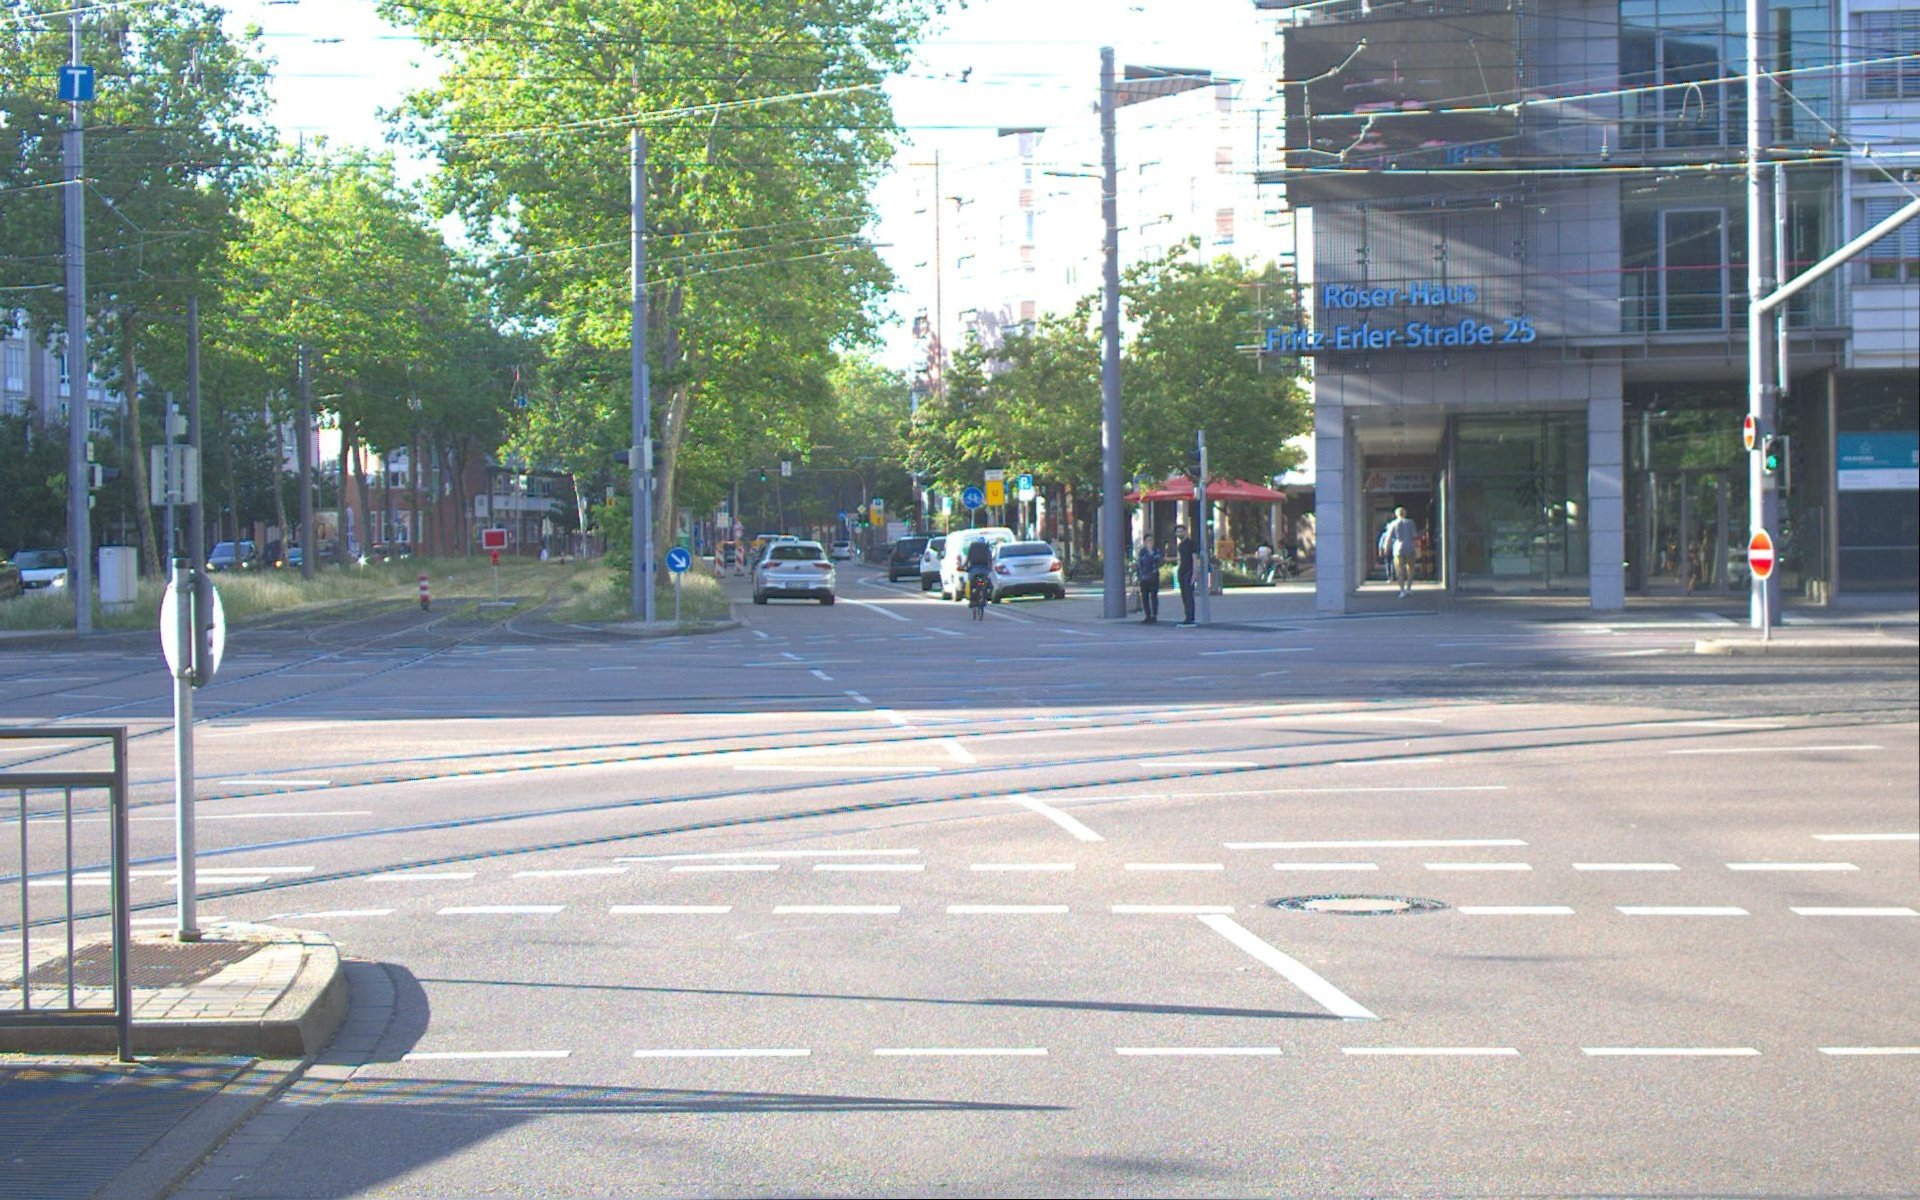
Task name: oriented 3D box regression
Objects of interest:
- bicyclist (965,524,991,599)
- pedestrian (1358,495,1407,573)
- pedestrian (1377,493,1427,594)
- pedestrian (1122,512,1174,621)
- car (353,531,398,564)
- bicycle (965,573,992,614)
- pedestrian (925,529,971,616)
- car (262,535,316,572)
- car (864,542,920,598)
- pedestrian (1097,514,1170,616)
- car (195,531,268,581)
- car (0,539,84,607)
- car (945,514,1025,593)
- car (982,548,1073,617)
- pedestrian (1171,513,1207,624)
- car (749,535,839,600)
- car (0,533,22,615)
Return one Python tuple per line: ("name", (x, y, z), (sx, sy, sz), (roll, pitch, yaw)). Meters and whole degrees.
("bicyclist", (0.351, -0.744, 66.643), (0.486, 1.434, 0.615), (1, 1, -1))
("pedestrian", (11.931, -1.860, 97.095), (1.313, 2.182, 1.170), (1, 0, 6))
("pedestrian", (8.968, -1.143, 69.780), (0.869, 2.007, 0.794), (1, -1, -1))
("pedestrian", (3.513, -0.623, 64.303), (0.849, 2.007, 0.708), (1, 0, -4))
("car", (-32.229, -2.887, 189.584), (1.844, 1.777, 4.000), (-1, 1, -1))
("bicycle", (0.352, -0.129, 66.734), (0.490, 0.785, 1.862), (0, 1, -1))
("pedestrian", (-0.243, -0.540, 67.401), (0.869, 1.702, 0.794), (1, 0, -1))
("car", (-33.267, -2.313, 170.634), (1.910, 1.777, 4.000), (-1, 1, -1))
("car", (-2.482, -1.107, 126.672), (1.993, 2.007, 4.000), (1, 1, -1))
("pedestrian", (3.335, -0.673, 66.184), (1.342, 1.944, 1.011), (-1, 0, -1))
("car", (-29.841, -1.829, 140.914), (1.876, 2.007, 4.471), (-1, 1, 2))
("car", (-22.510, -0.659, 83.841), (1.676, 1.601, 4.001), (1, 1, -6))
("car", (0.633, -1.207, 89.590), (1.993, 2.007, 4.000), (1, 1, -1))
("car", (1.596, -0.434, 82.798), (2.029, 1.590, 4.000), (1, 1, -1))
("pedestrian", (4.178, -0.582, 62.724), (0.586, 2.007, 0.620), (1, 0, 0))
("car", (-3.723, -0.761, 77.660), (1.748, 1.413, 4.000), (0, 1, 1))
("car", (-21.748, -0.565, 75.074), (1.822, 1.784, 4.001), (-1, 1, -7))
